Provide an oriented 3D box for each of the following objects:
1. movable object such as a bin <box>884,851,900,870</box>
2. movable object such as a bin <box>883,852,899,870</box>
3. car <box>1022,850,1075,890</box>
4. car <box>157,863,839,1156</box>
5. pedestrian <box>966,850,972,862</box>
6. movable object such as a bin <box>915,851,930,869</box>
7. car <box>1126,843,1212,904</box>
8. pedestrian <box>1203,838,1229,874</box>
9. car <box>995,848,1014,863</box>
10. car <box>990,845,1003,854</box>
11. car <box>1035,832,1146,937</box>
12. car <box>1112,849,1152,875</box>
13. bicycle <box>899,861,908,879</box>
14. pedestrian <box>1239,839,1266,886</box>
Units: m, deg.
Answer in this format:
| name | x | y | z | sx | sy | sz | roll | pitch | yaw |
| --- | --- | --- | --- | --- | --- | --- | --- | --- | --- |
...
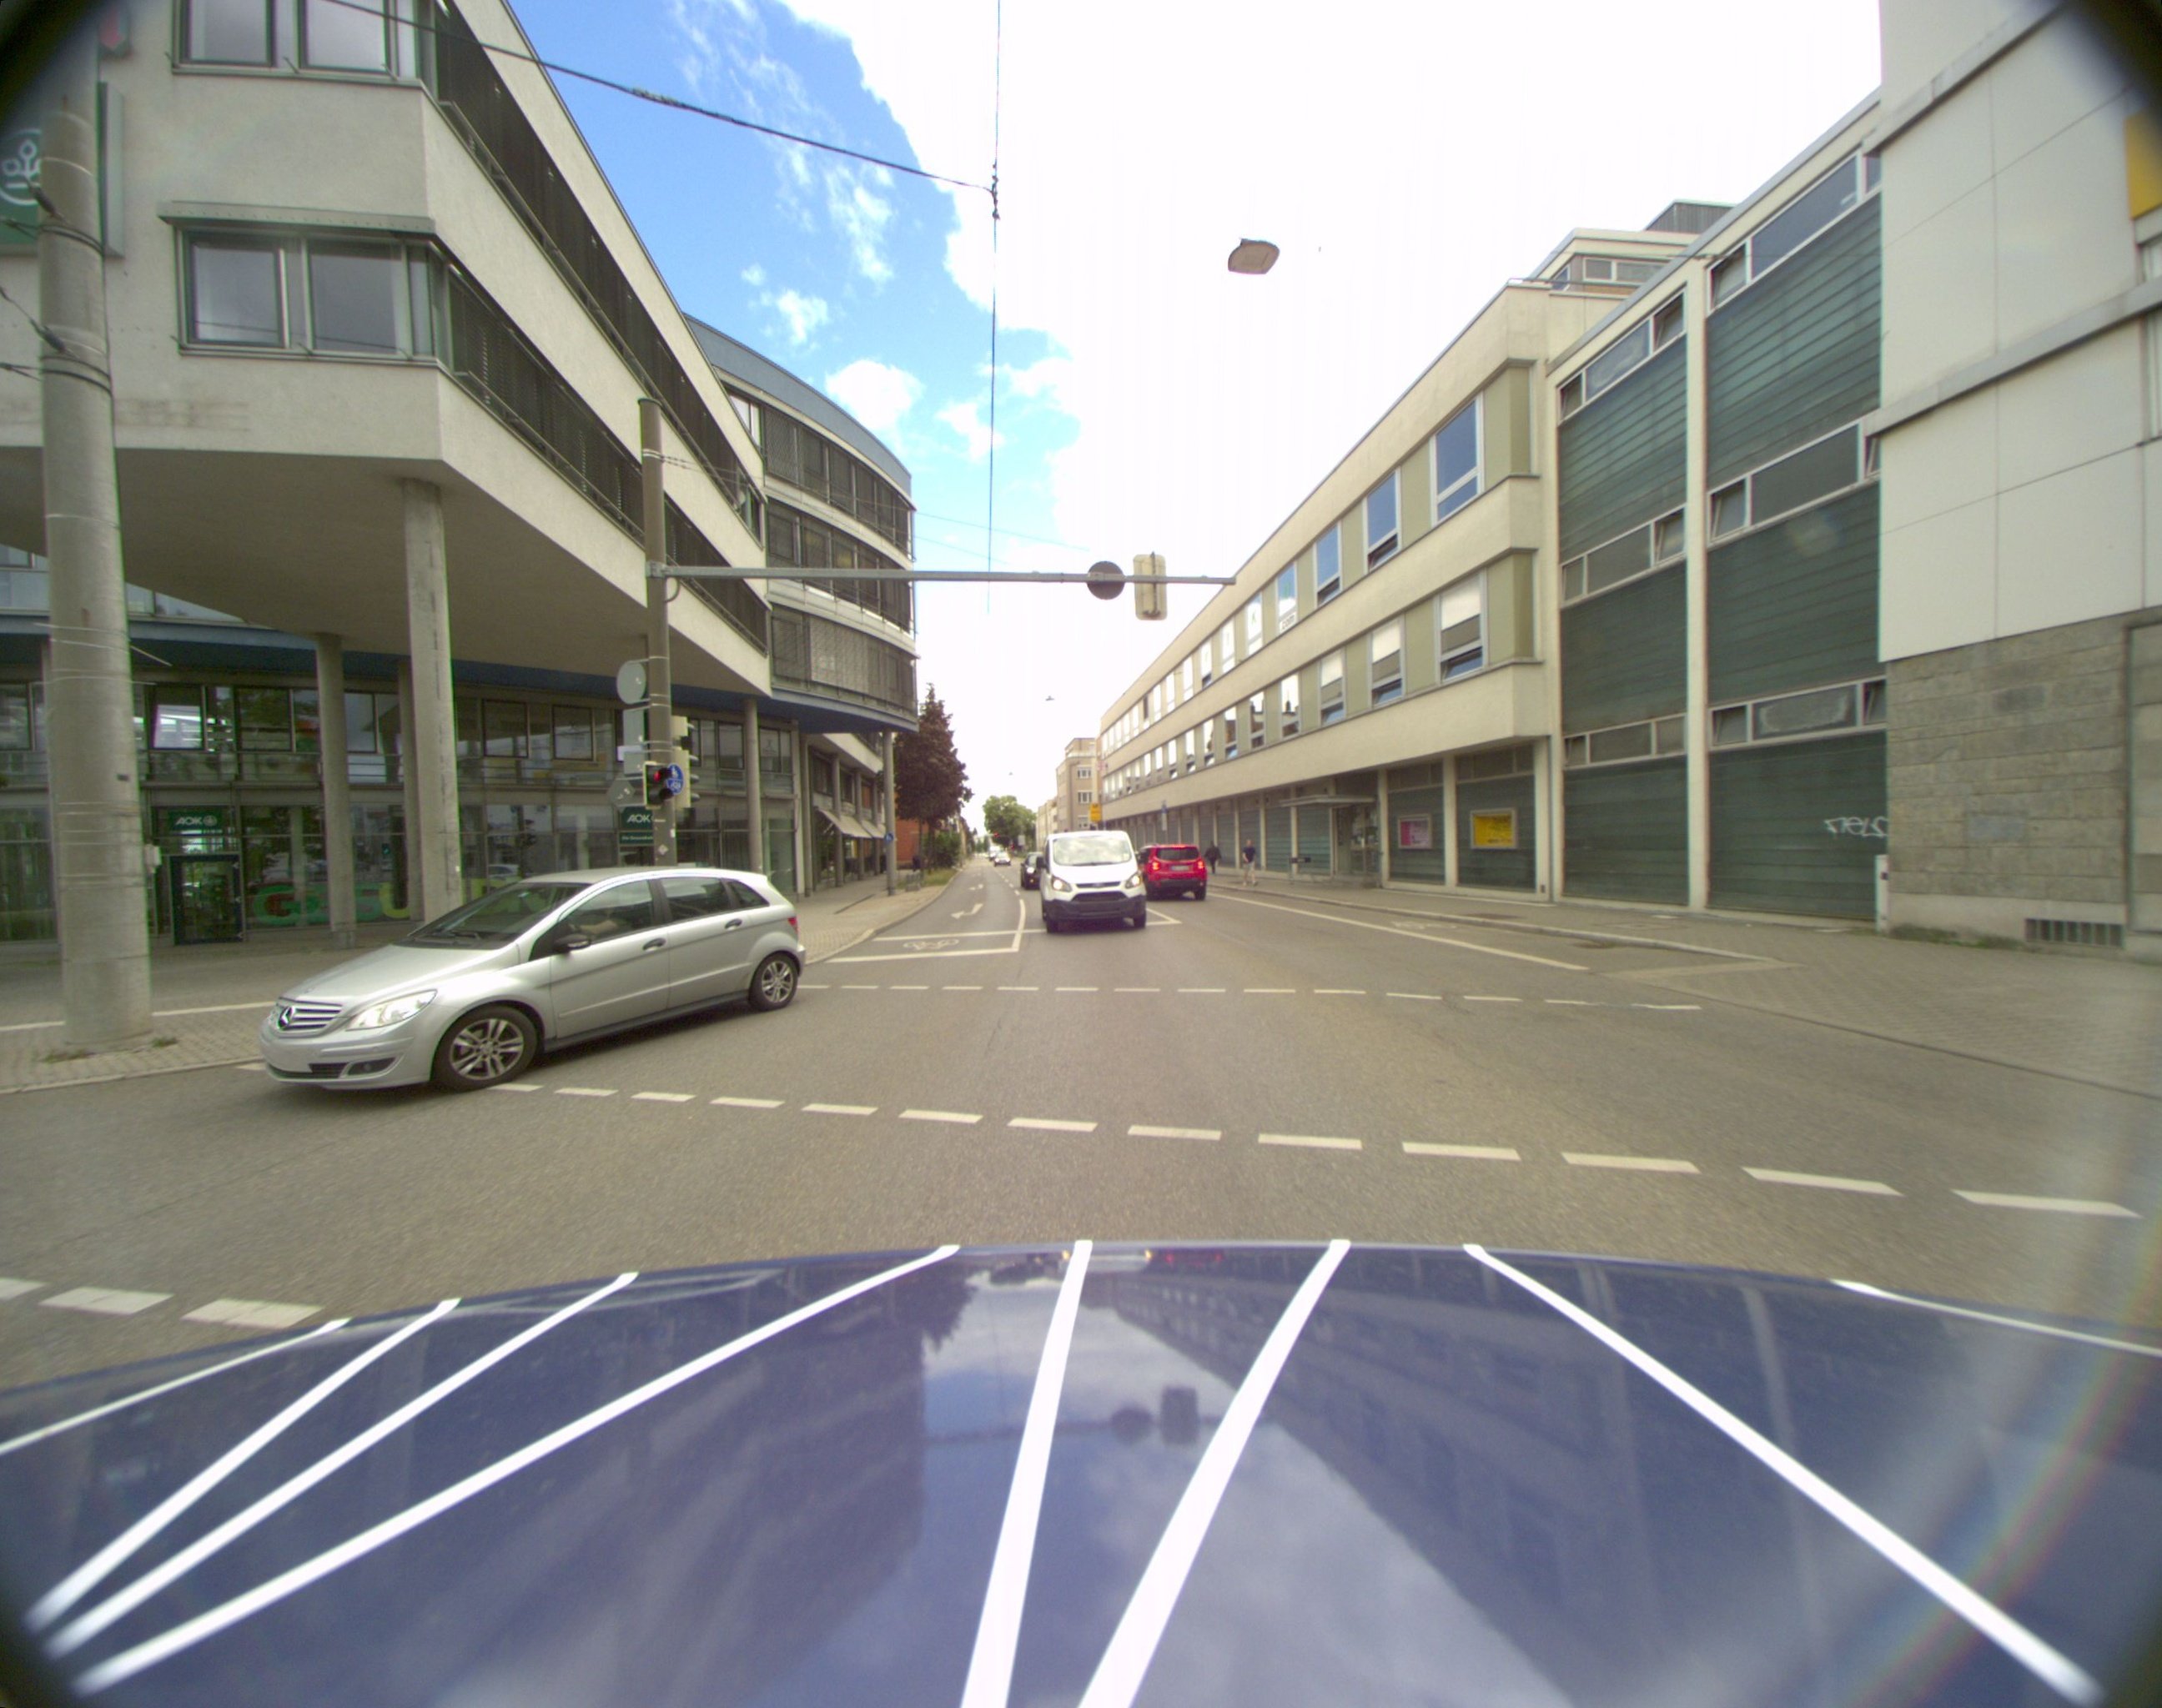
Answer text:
| name | x | y | z | sx | sy | sz | roll | pitch | yaw |
| --- | --- | --- | --- | --- | --- | --- | --- | --- | --- |
| movable object such as a bin | -15.279 | 0.525 | 61.589 | 1.125 | 1.457 | 1.331 | 0 | 1 | -9 |
| movable object such as a bin | -15.063 | 0.547 | 60.246 | 1.101 | 1.457 | 1.331 | 0 | 1 | -9 |
| car | -1.484 | 0.628 | 33.077 | 1.966 | 1.517 | 4.568 | -2 | 1 | -6 |
| car | -4.694 | 1.037 | 7.127 | 1.995 | 1.537 | 4.576 | -3 | 1 | 24 |
| pedestrian | -16.411 | 0.240 | 111.298 | 0.690 | 1.721 | 0.649 | -2 | 1 | -9 |
| movable object such as a bin | -13.240 | 0.483 | 63.454 | 1.131 | 1.457 | 1.411 | 0 | 1 | -9 |
| car | 2.626 | 0.525 | 23.555 | 1.805 | 1.685 | 3.894 | -1 | 1 | -7 |
| pedestrian | 6.635 | 0.110 | 37.415 | 0.864 | 1.708 | 1.030 | -3 | 2 | -9 |
| car | -8.291 | 0.151 | 82.466 | 1.966 | 1.517 | 4.568 | -2 | 1 | -6 |
| car | -14.934 | -0.816 | 134.142 | 1.966 | 1.517 | 4.567 | -2 | 1 | -9 |
| car | 0.040 | 0.557 | 17.333 | 1.965 | 1.986 | 5.084 | -2 | 1 | -5 |
| car | 2.929 | 0.425 | 44.634 | 1.675 | 1.425 | 4.550 | 0 | 1 | -5 |
| bicycle | -11.033 | 0.986 | 47.283 | 0.362 | 1.080 | 2.025 | -3 | 1 | -9 |
| pedestrian | 6.327 | 0.299 | 28.092 | 0.591 | 1.708 | 1.054 | -2 | 1 | -9 |
